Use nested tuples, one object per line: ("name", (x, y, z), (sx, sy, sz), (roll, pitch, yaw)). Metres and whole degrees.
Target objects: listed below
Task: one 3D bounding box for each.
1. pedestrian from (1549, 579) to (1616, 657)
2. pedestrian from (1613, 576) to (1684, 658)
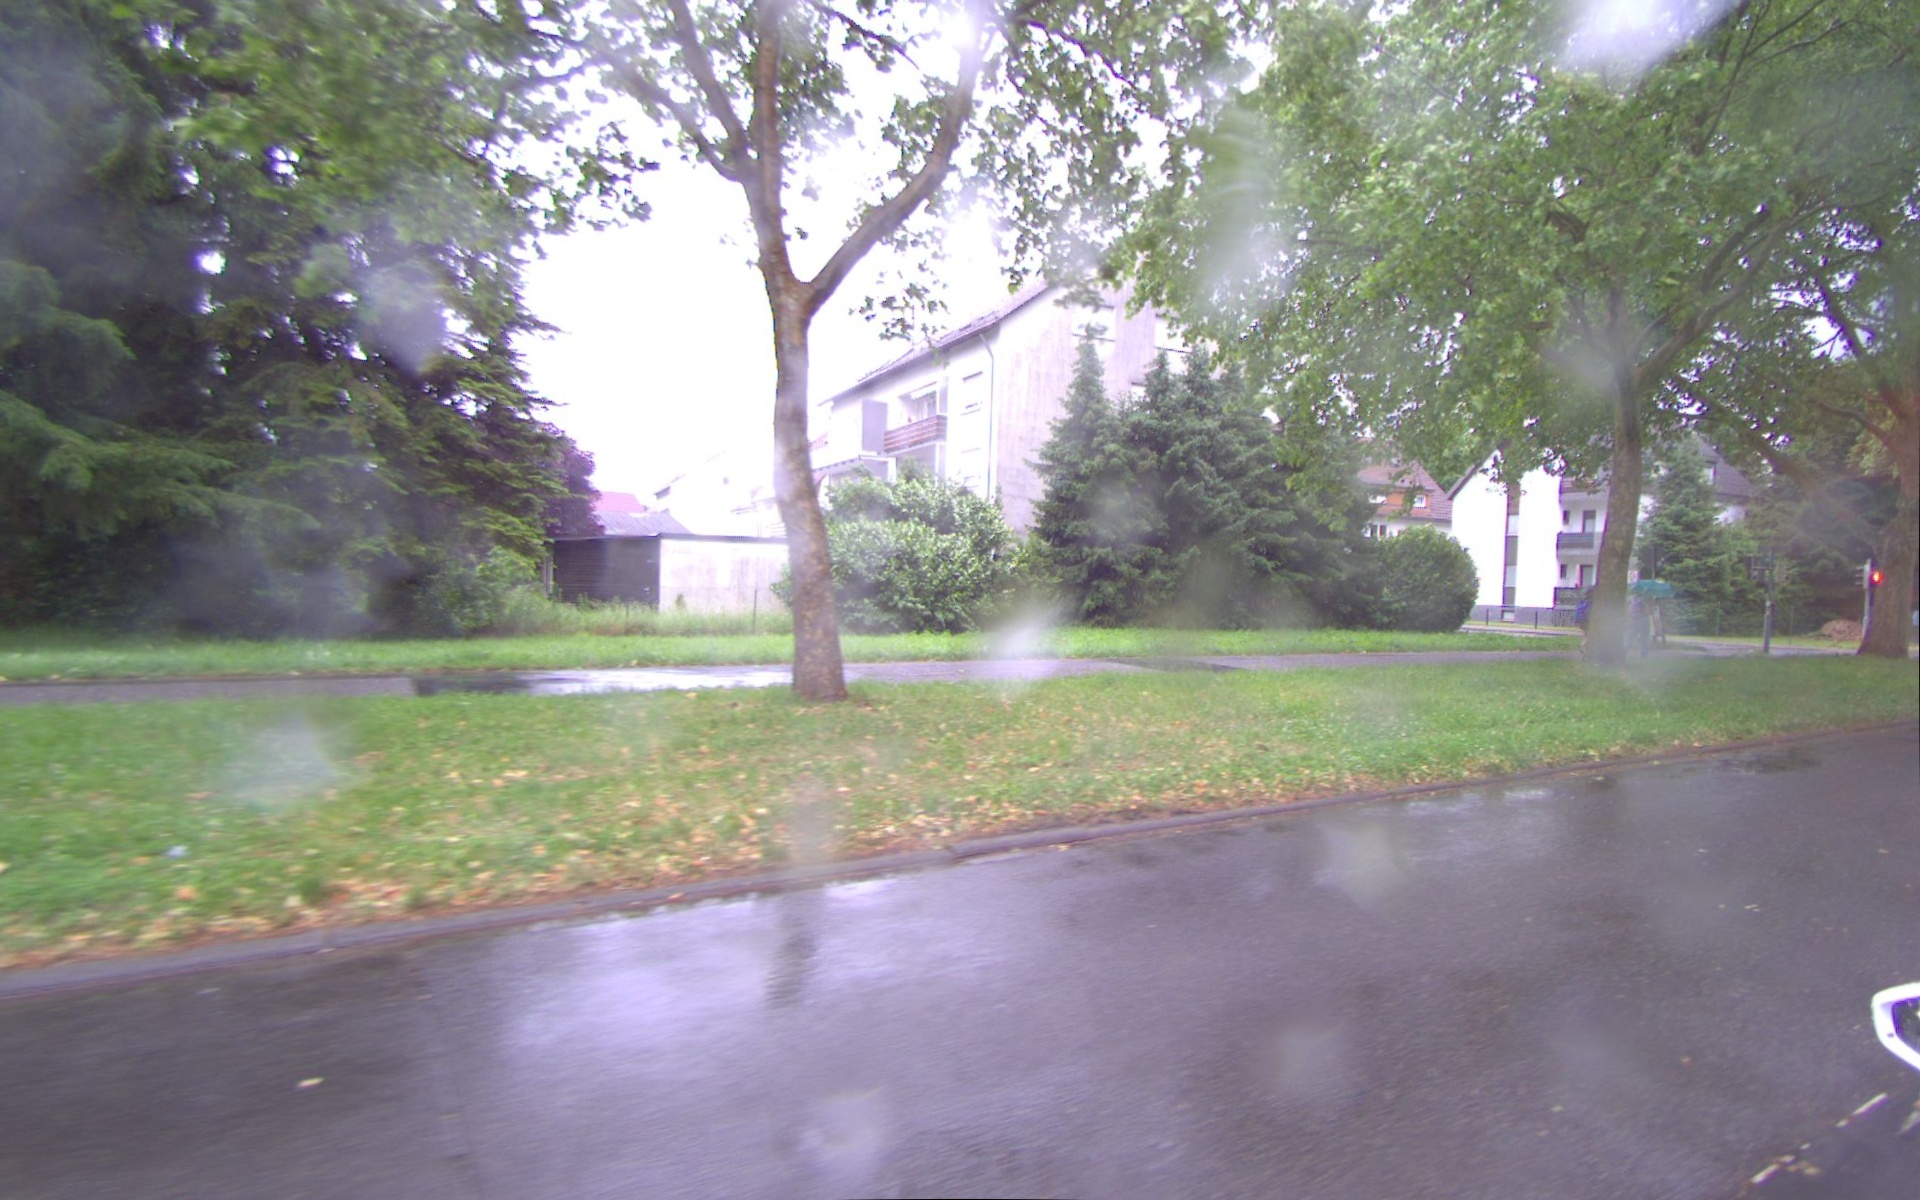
("pedestrian", (14.707, 0.405, 23.738), (0.869, 1.789, 1.028), (0, 1, -30))
("pedestrian", (15.445, 0.368, 22.555), (0.828, 1.789, 1.028), (0, 1, -30))
